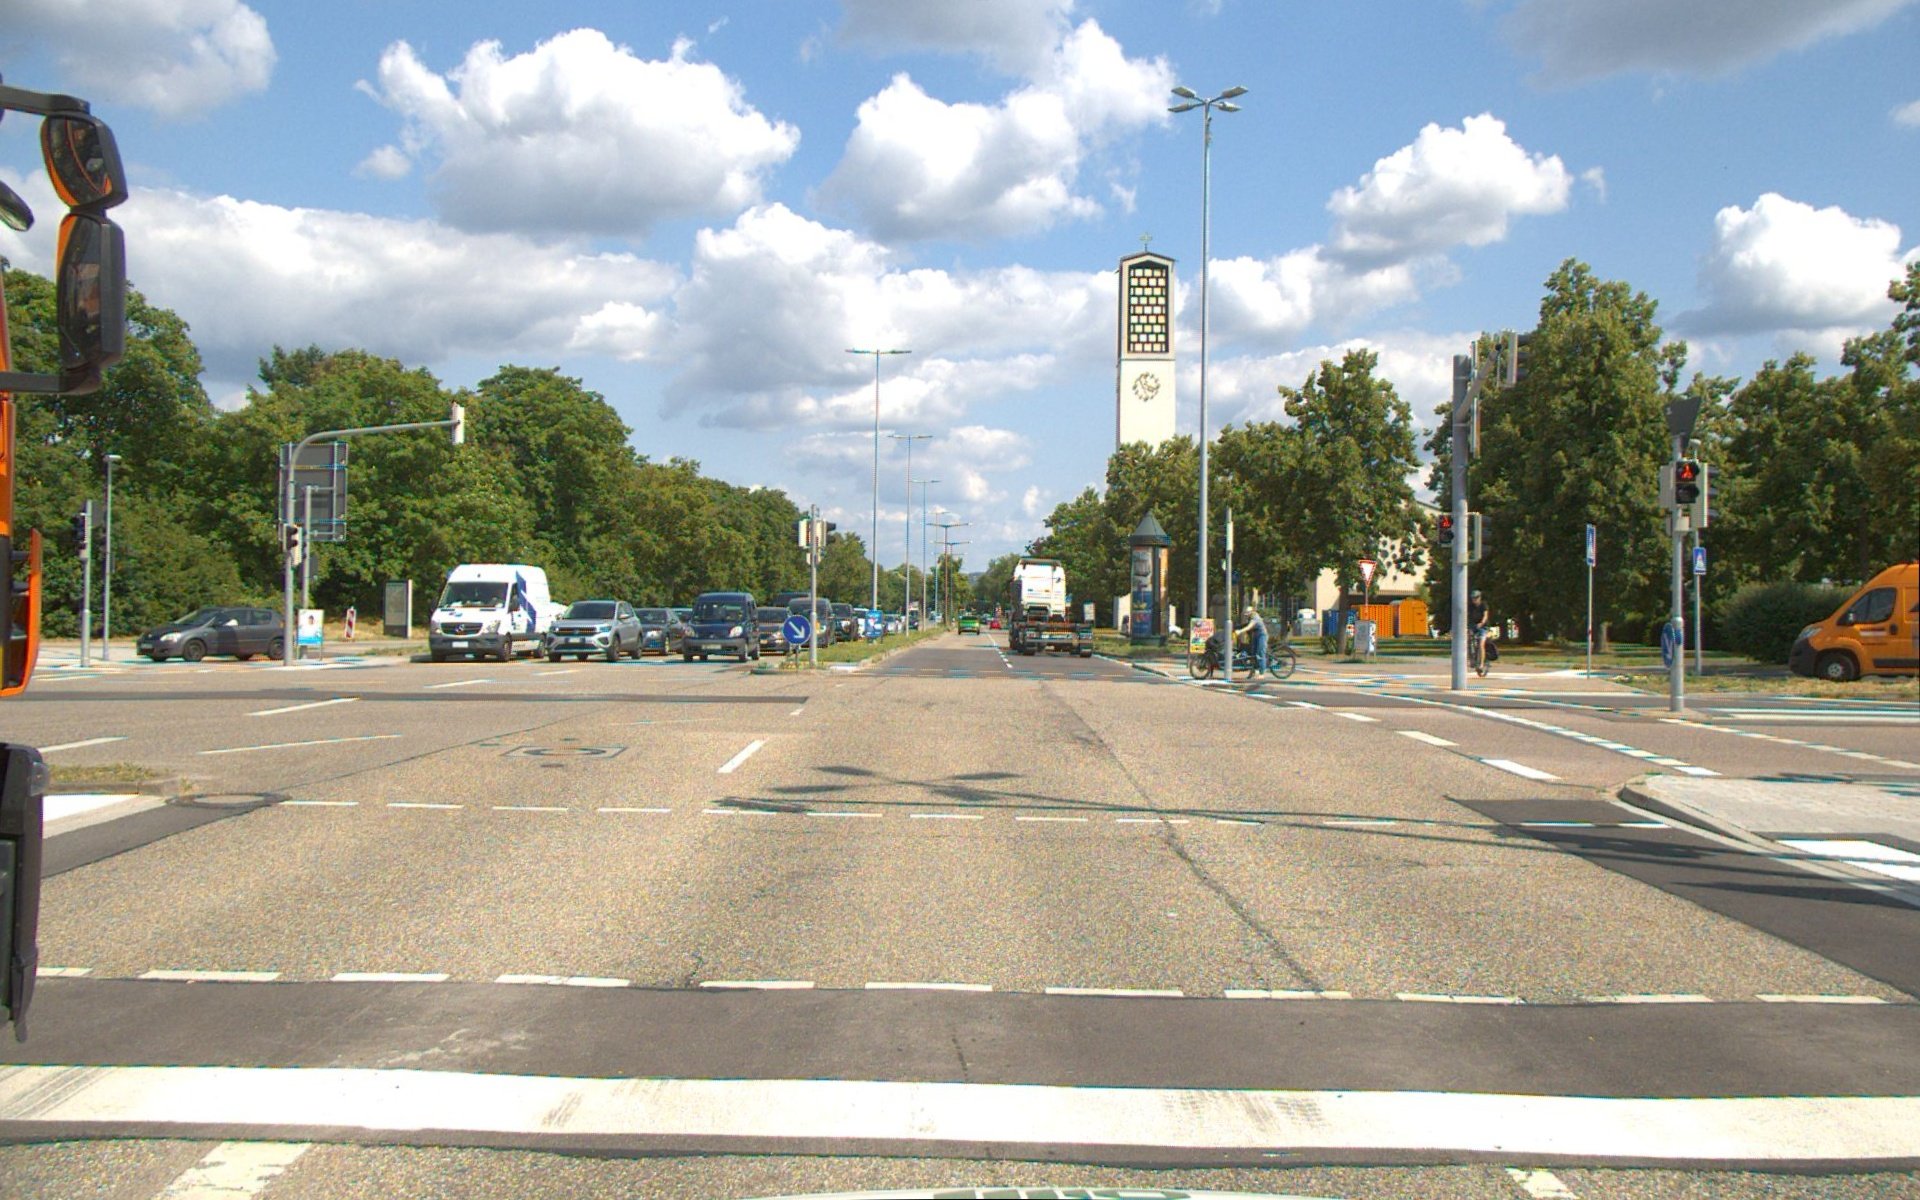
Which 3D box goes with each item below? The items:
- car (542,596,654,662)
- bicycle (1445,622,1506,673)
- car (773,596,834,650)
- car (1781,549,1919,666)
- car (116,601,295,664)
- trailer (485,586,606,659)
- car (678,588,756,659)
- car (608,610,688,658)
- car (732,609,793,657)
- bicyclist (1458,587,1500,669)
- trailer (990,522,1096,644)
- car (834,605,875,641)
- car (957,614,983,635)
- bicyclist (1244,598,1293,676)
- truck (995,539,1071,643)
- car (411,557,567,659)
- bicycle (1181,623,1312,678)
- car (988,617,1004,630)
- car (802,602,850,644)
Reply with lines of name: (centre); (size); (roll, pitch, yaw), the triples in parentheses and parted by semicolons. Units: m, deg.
car: (-9.418, 0.750, 43.412); (1.698, 1.570, 4.310); (2, -1, 3)
bicycle: (11.594, 1.049, 37.165); (0.672, 1.113, 1.995); (0, -1, 37)
car: (-5.446, 0.773, 57.890); (1.699, 1.689, 4.231); (3, 1, 0)
car: (19.343, 0.188, 33.265); (4.762, 2.264, 2.204); (2, -1, 35)
car: (-20.303, 0.896, 44.650); (1.956, 1.557, 3.994); (2, -1, 28)
trailer: (-12.605, 0.696, 50.710); (2.080, 2.049, 5.163); (2, -1, 3)
car: (-6.247, 0.591, 42.819); (1.701, 1.689, 4.226); (2, -1, -5)
car: (-9.252, 0.996, 49.300); (1.728, 1.375, 3.518); (1, -1, -1)
car: (-5.971, 0.974, 50.292); (1.537, 1.339, 3.430); (2, -1, -3)
bicyclist: (11.718, 0.625, 37.332); (0.672, 1.836, 0.786); (0, -1, 37)
trailer: (3.158, -0.469, 61.953); (3.544, 4.082, 11.322); (1, -1, 3)
car: (-5.274, 1.141, 83.079); (1.699, 1.689, 4.230); (2, -1, 0)
car: (0.776, 1.956, 132.002); (1.953, 1.579, 3.999); (2, -1, -1)
bicyclist: (6.620, 0.781, 35.505); (0.689, 1.644, 0.791); (1, 0, -24)
truck: (3.138, -0.266, 69.643); (2.897, 4.040, 8.641); (1, -1, 3)
car: (-12.691, 0.246, 45.081); (2.128, 2.514, 5.969); (2, -1, 3)
bicycle: (6.116, 1.068, 35.277); (2.796, 1.131, 0.791); (1, 0, -25)
car: (4.952, 3.259, 229.401); (1.953, 1.579, 3.999); (2, -1, -1)
car: (-5.733, 0.981, 70.996); (1.699, 1.689, 4.230); (2, -1, -1)
